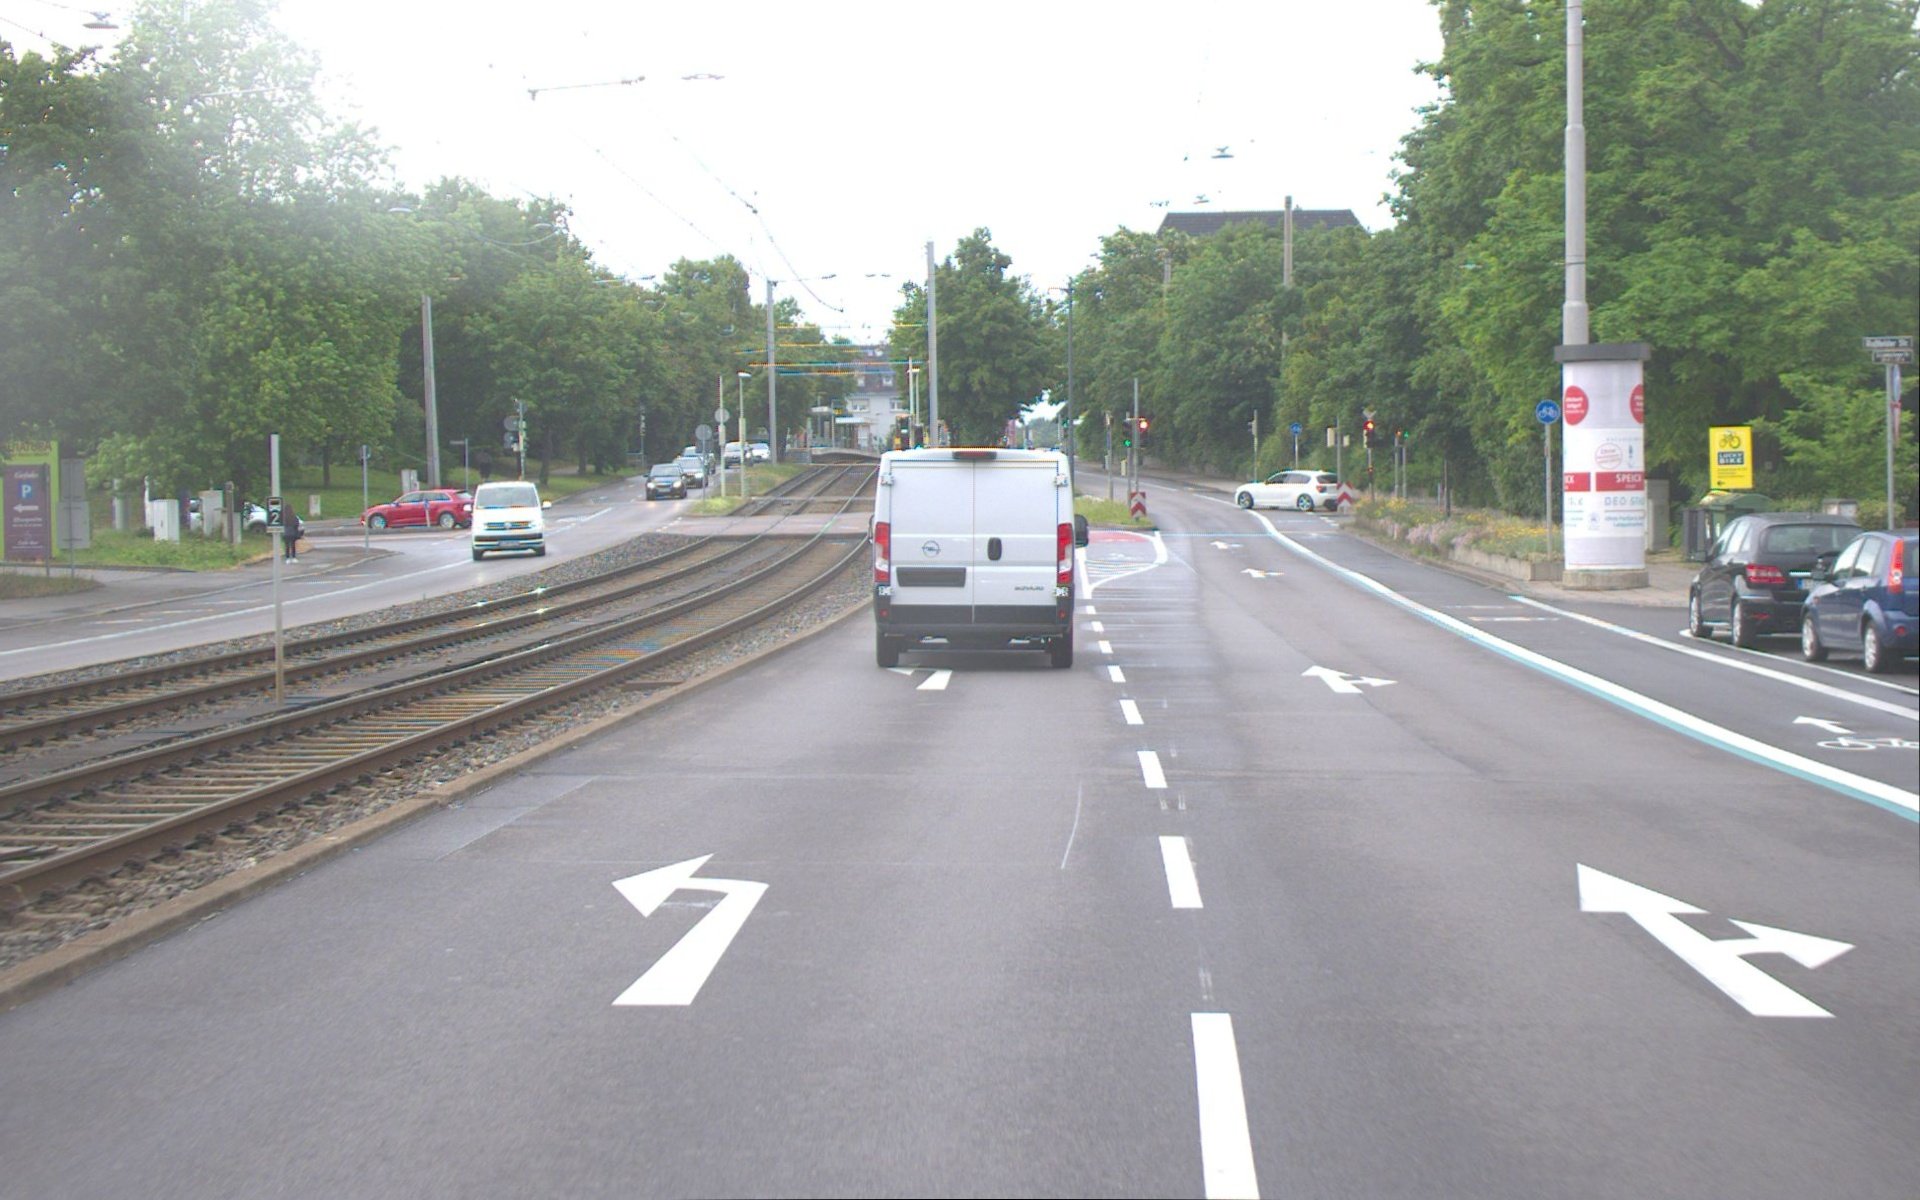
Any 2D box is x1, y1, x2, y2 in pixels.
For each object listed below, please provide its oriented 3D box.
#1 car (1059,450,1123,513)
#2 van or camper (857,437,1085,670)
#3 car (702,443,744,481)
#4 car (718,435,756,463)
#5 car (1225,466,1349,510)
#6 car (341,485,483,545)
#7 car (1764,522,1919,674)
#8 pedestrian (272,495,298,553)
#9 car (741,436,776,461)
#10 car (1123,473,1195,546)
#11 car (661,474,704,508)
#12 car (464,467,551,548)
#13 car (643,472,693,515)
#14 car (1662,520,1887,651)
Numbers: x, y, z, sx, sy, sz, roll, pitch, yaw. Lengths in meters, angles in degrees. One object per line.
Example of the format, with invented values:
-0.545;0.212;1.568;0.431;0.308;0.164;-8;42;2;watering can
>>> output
4.523;-4.091;118.975;1.993;2.007;4.000;1;0;-1;car
0.083;-0.473;36.168;2.199;2.245;4.684;1;0;-1;van or camper
-13.736;-8.009;199.412;1.993;2.007;4.000;1;0;2;car
-14.060;-9.493;216.855;1.993;1.645;4.000;-1;1;2;car
11.515;-3.945;121.210;4.181;1.471;1.662;0;1;44;car
-19.318;-2.990;121.242;4.515;2.007;1.999;1;0;10;car
9.715;-0.034;35.749;1.847;1.494;3.954;1;1;1;car
-17.406;-1.958;88.649;0.612;1.470;0.643;-1;1;-10;pedestrian
-13.861;-10.423;236.597;1.993;1.645;4.000;-1;1;2;car
5.793;-2.624;100.446;1.994;2.007;4.000;1;0;2;car
-13.326;-5.248;165.204;1.690;1.569;3.777;-1;1;1;car
-12.008;-2.427;90.972;1.993;2.007;4.529;1;0;-11;car
-12.444;-4.542;146.678;1.690;1.706;3.776;1;0;1;car
9.773;-0.189;41.524;1.847;1.494;3.954;1;1;1;car
